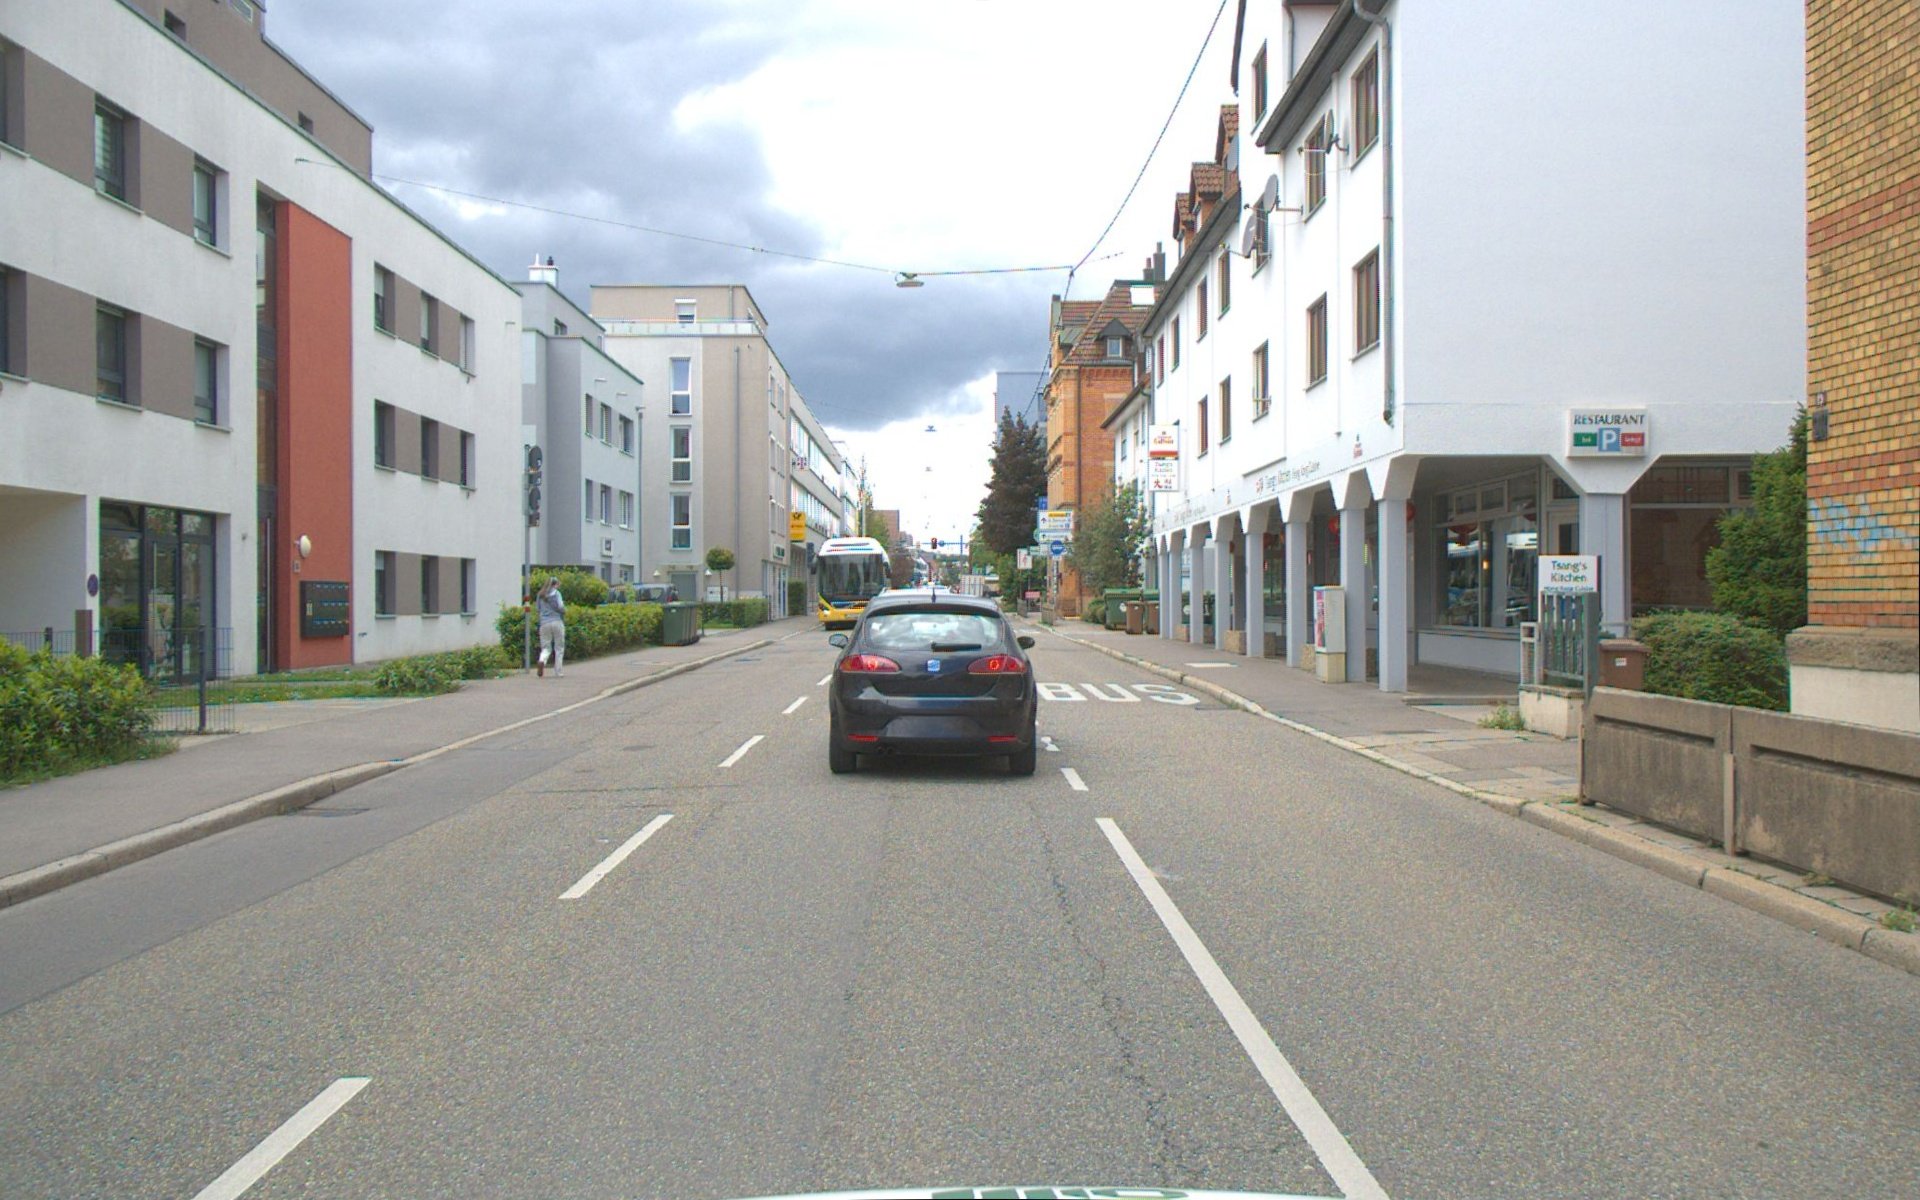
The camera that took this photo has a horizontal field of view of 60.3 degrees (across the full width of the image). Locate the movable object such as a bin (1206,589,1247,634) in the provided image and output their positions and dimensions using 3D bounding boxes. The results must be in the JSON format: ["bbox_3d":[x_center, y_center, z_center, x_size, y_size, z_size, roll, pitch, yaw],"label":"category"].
[{"bbox_3d":[8.714,0.362,54.160,1.184,1.442,1.260,0,0,3],"label":"movable object such as a bin"}]

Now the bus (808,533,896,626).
[{"bbox_3d":[-4.170,-0.818,66.501,2.883,3.331,12.006,-1,1,-1],"label":"bus"}]

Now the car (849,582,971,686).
[{"bbox_3d":[-0.767,0.482,25.907,1.767,1.519,3.736,0,0,-1],"label":"car"}]

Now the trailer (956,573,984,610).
[{"bbox_3d":[0.705,-0.650,122.419,1.953,2.653,5.348,0,0,-1],"label":"trailer"}]

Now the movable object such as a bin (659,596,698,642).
[{"bbox_3d":[-7.250,0.472,42.604,0.937,1.171,0.839,0,0,-5],"label":"movable object such as a bin"}]

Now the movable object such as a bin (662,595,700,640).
[{"bbox_3d":[-7.320,0.462,43.447,0.930,1.171,0.748,0,0,-5],"label":"movable object such as a bin"}]

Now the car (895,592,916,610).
[{"bbox_3d":[-4.911,0.054,149.205,1.840,1.476,4.213,-2,0,-1],"label":"car"}]

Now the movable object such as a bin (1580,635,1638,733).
[{"bbox_3d":[6.322,0.812,16.119,0.389,0.919,0.456,0,0,-1],"label":"movable object such as a bin"}]

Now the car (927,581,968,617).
[{"bbox_3d":[-0.564,-0.059,73.752,1.767,1.580,3.736,0,0,-1],"label":"car"}]

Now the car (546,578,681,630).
[{"bbox_3d":[-11.490,0.142,55.035,4.076,1.697,1.725,0,0,2],"label":"car"}]

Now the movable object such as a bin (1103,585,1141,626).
[{"bbox_3d":[5.708,0.183,58.428,1.241,1.442,1.162,0,0,-1],"label":"movable object such as a bin"}]

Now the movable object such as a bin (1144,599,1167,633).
[{"bbox_3d":[6.443,0.510,54.492,0.683,1.098,0.972,0,0,3],"label":"movable object such as a bin"}]

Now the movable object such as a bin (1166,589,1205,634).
[{"bbox_3d":[7.378,0.360,54.156,1.184,1.442,1.260,0,0,3],"label":"movable object such as a bin"}]

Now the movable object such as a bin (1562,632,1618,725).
[{"bbox_3d":[6.367,0.786,16.728,0.389,0.919,0.456,0,0,-1],"label":"movable object such as a bin"}]

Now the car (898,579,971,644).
[{"bbox_3d":[-0.658,0.267,42.036,1.767,1.580,3.736,0,0,-1],"label":"car"}]

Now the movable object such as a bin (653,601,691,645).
[{"bbox_3d":[-7.255,0.576,41.659,0.877,1.108,0.792,0,0,-5],"label":"movable object such as a bin"}]

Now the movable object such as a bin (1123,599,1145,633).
[{"bbox_3d":[5.728,0.518,54.507,0.669,1.086,0.972,0,0,3],"label":"movable object such as a bin"}]

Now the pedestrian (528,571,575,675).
[{"bbox_3d":[-6.587,0.366,26.671,0.625,1.671,0.520,0,0,-1],"label":"pedestrian"}]

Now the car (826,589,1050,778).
[{"bbox_3d":[-0.194,0.631,14.717,1.729,1.458,3.828,0,0,-1],"label":"car"}]

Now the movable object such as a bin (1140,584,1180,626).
[{"bbox_3d":[7.037,0.167,58.208,1.241,1.460,1.307,0,0,-1],"label":"movable object such as a bin"}]
